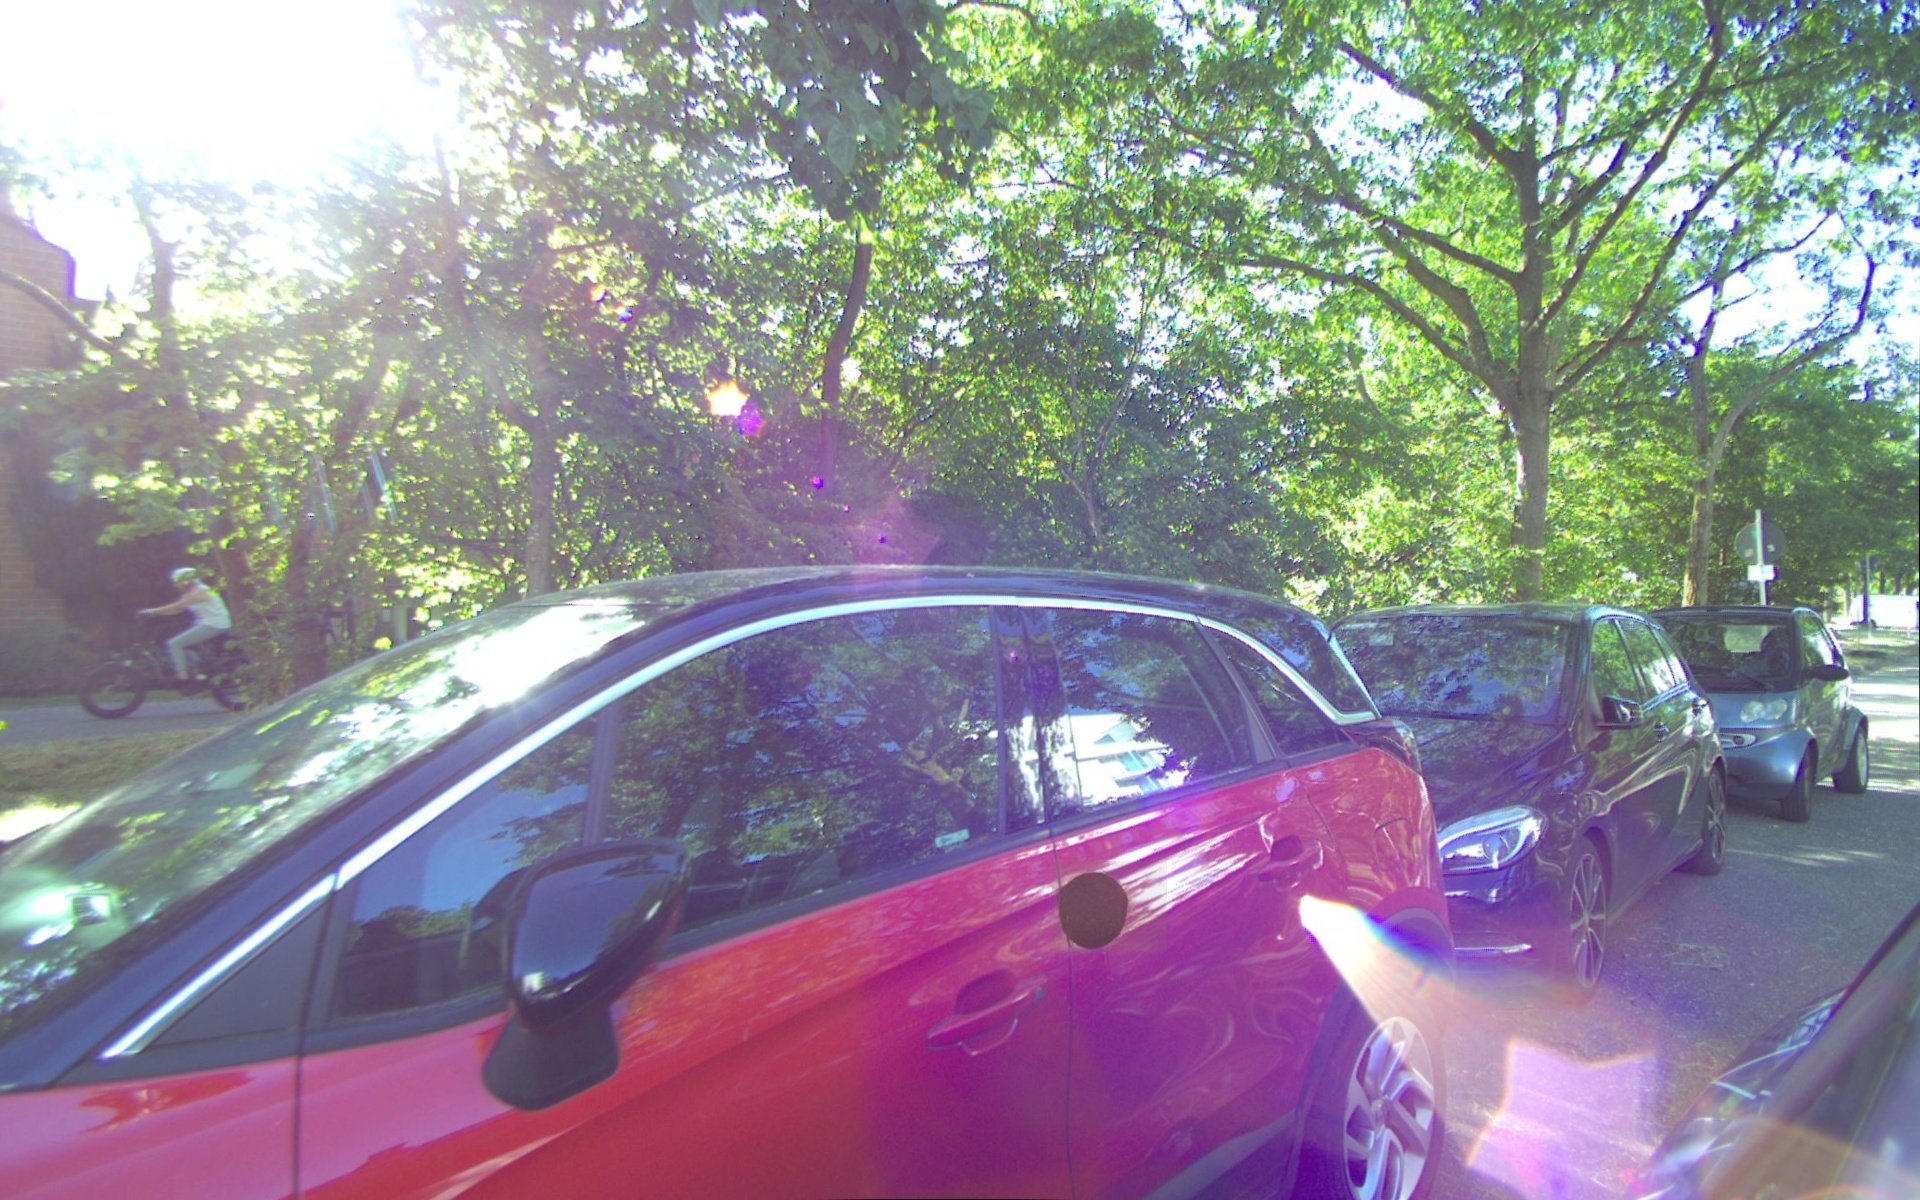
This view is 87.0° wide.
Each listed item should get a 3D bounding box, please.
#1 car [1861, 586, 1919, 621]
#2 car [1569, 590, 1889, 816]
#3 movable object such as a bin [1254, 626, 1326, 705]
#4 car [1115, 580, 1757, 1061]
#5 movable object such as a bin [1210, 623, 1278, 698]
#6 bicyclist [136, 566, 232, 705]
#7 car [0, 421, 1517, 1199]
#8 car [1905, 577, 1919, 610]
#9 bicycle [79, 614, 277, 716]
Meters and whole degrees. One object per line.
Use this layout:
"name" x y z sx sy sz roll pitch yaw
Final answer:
"car" 56.895 0.216 59.806 1.966 2.030 5.262 1 1 -43
"car" 6.316 0.703 8.267 2.628 1.528 1.497 0 -1 -39
"movable object such as a bin" 4.233 0.823 13.001 0.454 0.891 0.728 -7 6 -35
"car" 2.736 0.713 5.280 4.081 1.528 1.713 0 -1 -44
"movable object such as a bin" 3.815 0.795 13.610 0.454 0.891 0.728 -7 6 -35
"bicyclist" -8.912 0.390 11.626 0.826 1.519 0.632 0 -1 -42
"car" -0.568 0.665 2.064 3.994 1.594 1.681 0 -1 -41
"car" 76.377 -0.453 78.486 4.401 2.578 1.858 2 1 45
"bicycle" -8.929 0.704 11.601 1.754 1.053 0.632 0 0 -42
